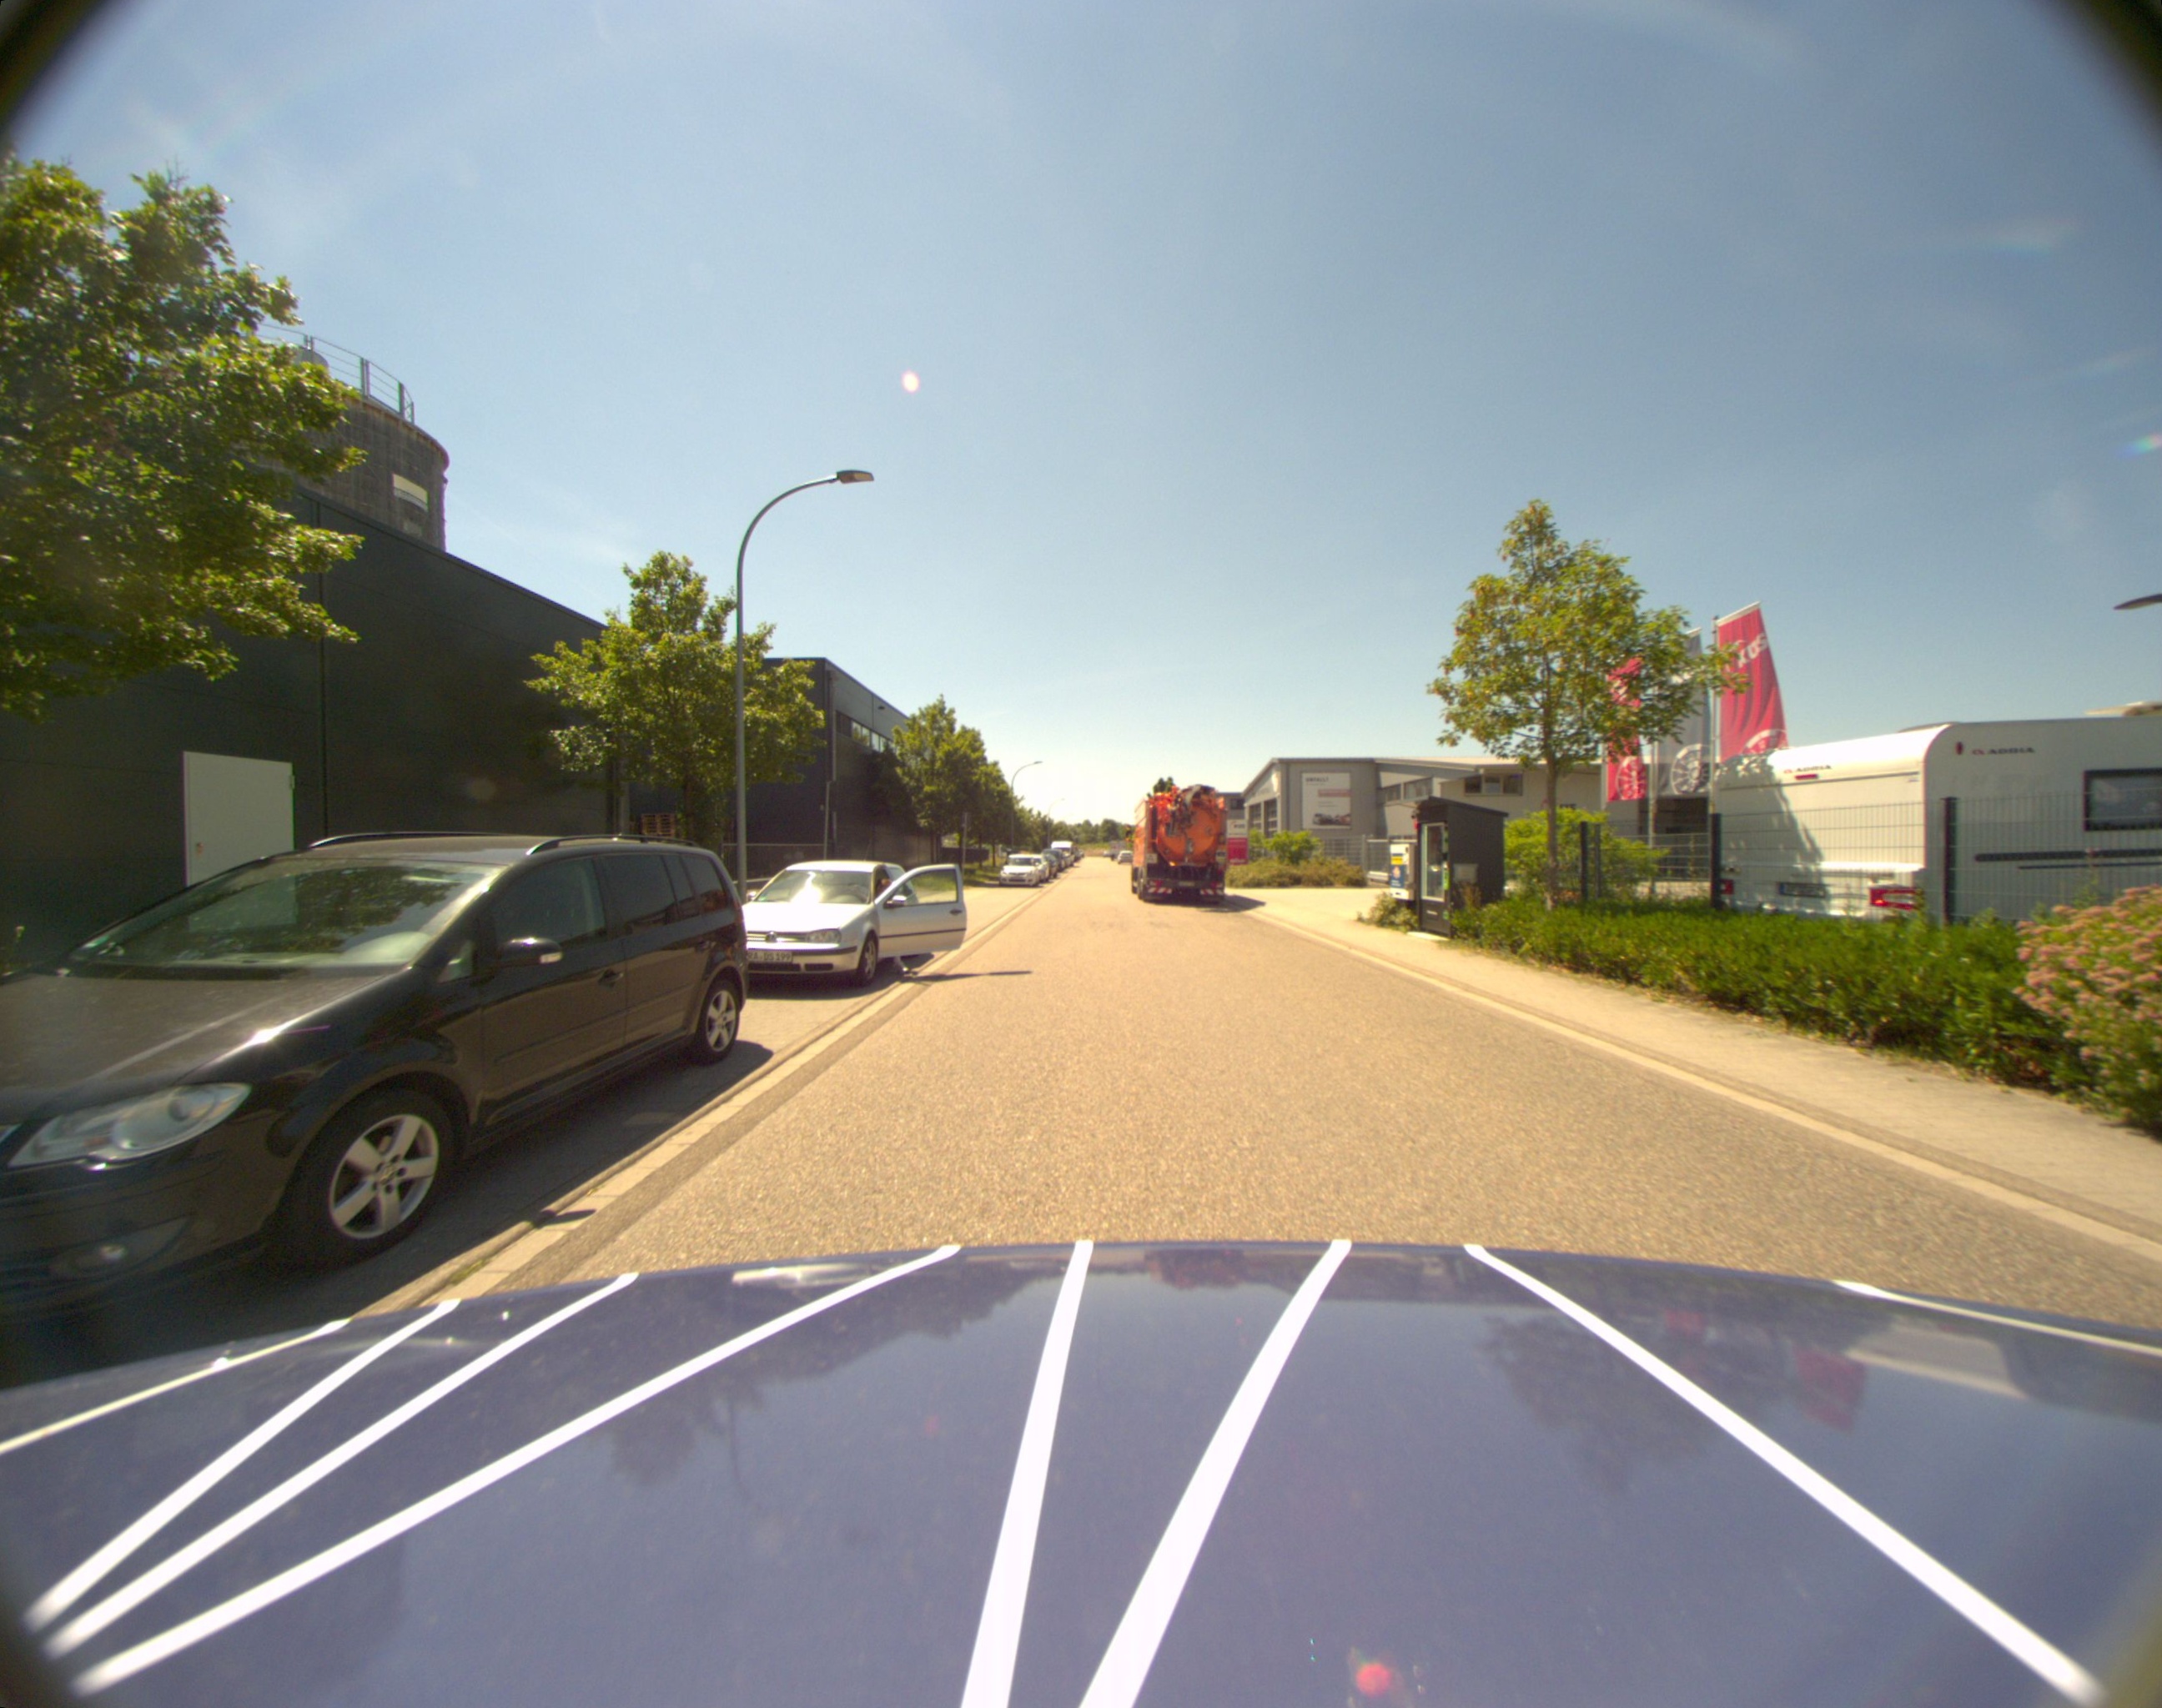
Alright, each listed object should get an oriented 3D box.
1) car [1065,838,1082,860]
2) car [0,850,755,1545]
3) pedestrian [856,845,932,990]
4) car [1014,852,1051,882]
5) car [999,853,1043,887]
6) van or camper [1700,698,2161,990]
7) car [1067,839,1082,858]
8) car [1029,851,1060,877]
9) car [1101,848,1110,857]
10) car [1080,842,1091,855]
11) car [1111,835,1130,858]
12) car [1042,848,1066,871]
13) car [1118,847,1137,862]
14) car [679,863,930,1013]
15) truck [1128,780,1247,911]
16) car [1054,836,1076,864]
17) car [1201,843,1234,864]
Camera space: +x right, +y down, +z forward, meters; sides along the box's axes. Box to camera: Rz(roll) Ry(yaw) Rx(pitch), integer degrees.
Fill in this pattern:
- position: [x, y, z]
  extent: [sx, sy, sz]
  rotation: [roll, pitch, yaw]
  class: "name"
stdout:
- position: [-0.950, -0.609, 95.112]
  extent: [2.060, 2.683, 4.834]
  rotation: [0, 1, 0]
  class: "car"
- position: [-3.474, 0.826, 3.836]
  extent: [1.742, 1.660, 4.367]
  rotation: [1, 0, 0]
  class: "car"
- position: [-2.448, 0.795, 9.945]
  extent: [0.722, 1.799, 0.703]
  rotation: [-2, 1, -34]
  class: "pedestrian"
- position: [-2.549, 0.674, 40.755]
  extent: [1.736, 1.501, 3.844]
  rotation: [0, 1, 0]
  class: "car"
- position: [-2.784, 0.714, 35.819]
  extent: [1.736, 1.501, 3.665]
  rotation: [1, 1, 0]
  class: "car"
- position: [11.165, -0.106, 8.185]
  extent: [6.792, 2.668, 2.575]
  rotation: [0, 1, 2]
  class: "van or camper"
- position: [-0.835, -0.755, 107.611]
  extent: [2.060, 2.683, 4.834]
  rotation: [0, 1, 0]
  class: "car"
- position: [-2.241, 0.590, 47.178]
  extent: [1.736, 1.501, 3.745]
  rotation: [0, 1, 0]
  class: "car"
- position: [4.846, -0.271, 150.457]
  extent: [1.867, 1.674, 4.223]
  rotation: [0, 1, 2]
  class: "car"
- position: [0.885, -1.076, 152.666]
  extent: [2.060, 2.683, 4.834]
  rotation: [0, 1, 0]
  class: "car"
- position: [5.585, -1.060, 107.774]
  extent: [2.600, 3.213, 6.222]
  rotation: [0, 1, 2]
  class: "car"
- position: [-2.061, 0.417, 59.091]
  extent: [1.736, 1.684, 3.745]
  rotation: [0, 1, 0]
  class: "car"
- position: [5.214, 0.052, 86.053]
  extent: [1.998, 1.674, 4.000]
  rotation: [0, 1, 2]
  class: "car"
- position: [-3.284, 0.901, 9.960]
  extent: [1.711, 1.449, 4.189]
  rotation: [1, 0, 0]
  class: "car"
- position: [3.210, -0.259, 25.873]
  extent: [2.606, 3.524, 10.500]
  rotation: [1, 0, 0]
  class: "truck"
- position: [-1.593, -0.359, 75.404]
  extent: [2.060, 2.683, 4.834]
  rotation: [0, 1, 0]
  class: "car"
- position: [11.064, -0.031, 61.667]
  extent: [1.998, 1.674, 4.000]
  rotation: [0, 1, 1]
  class: "car"
